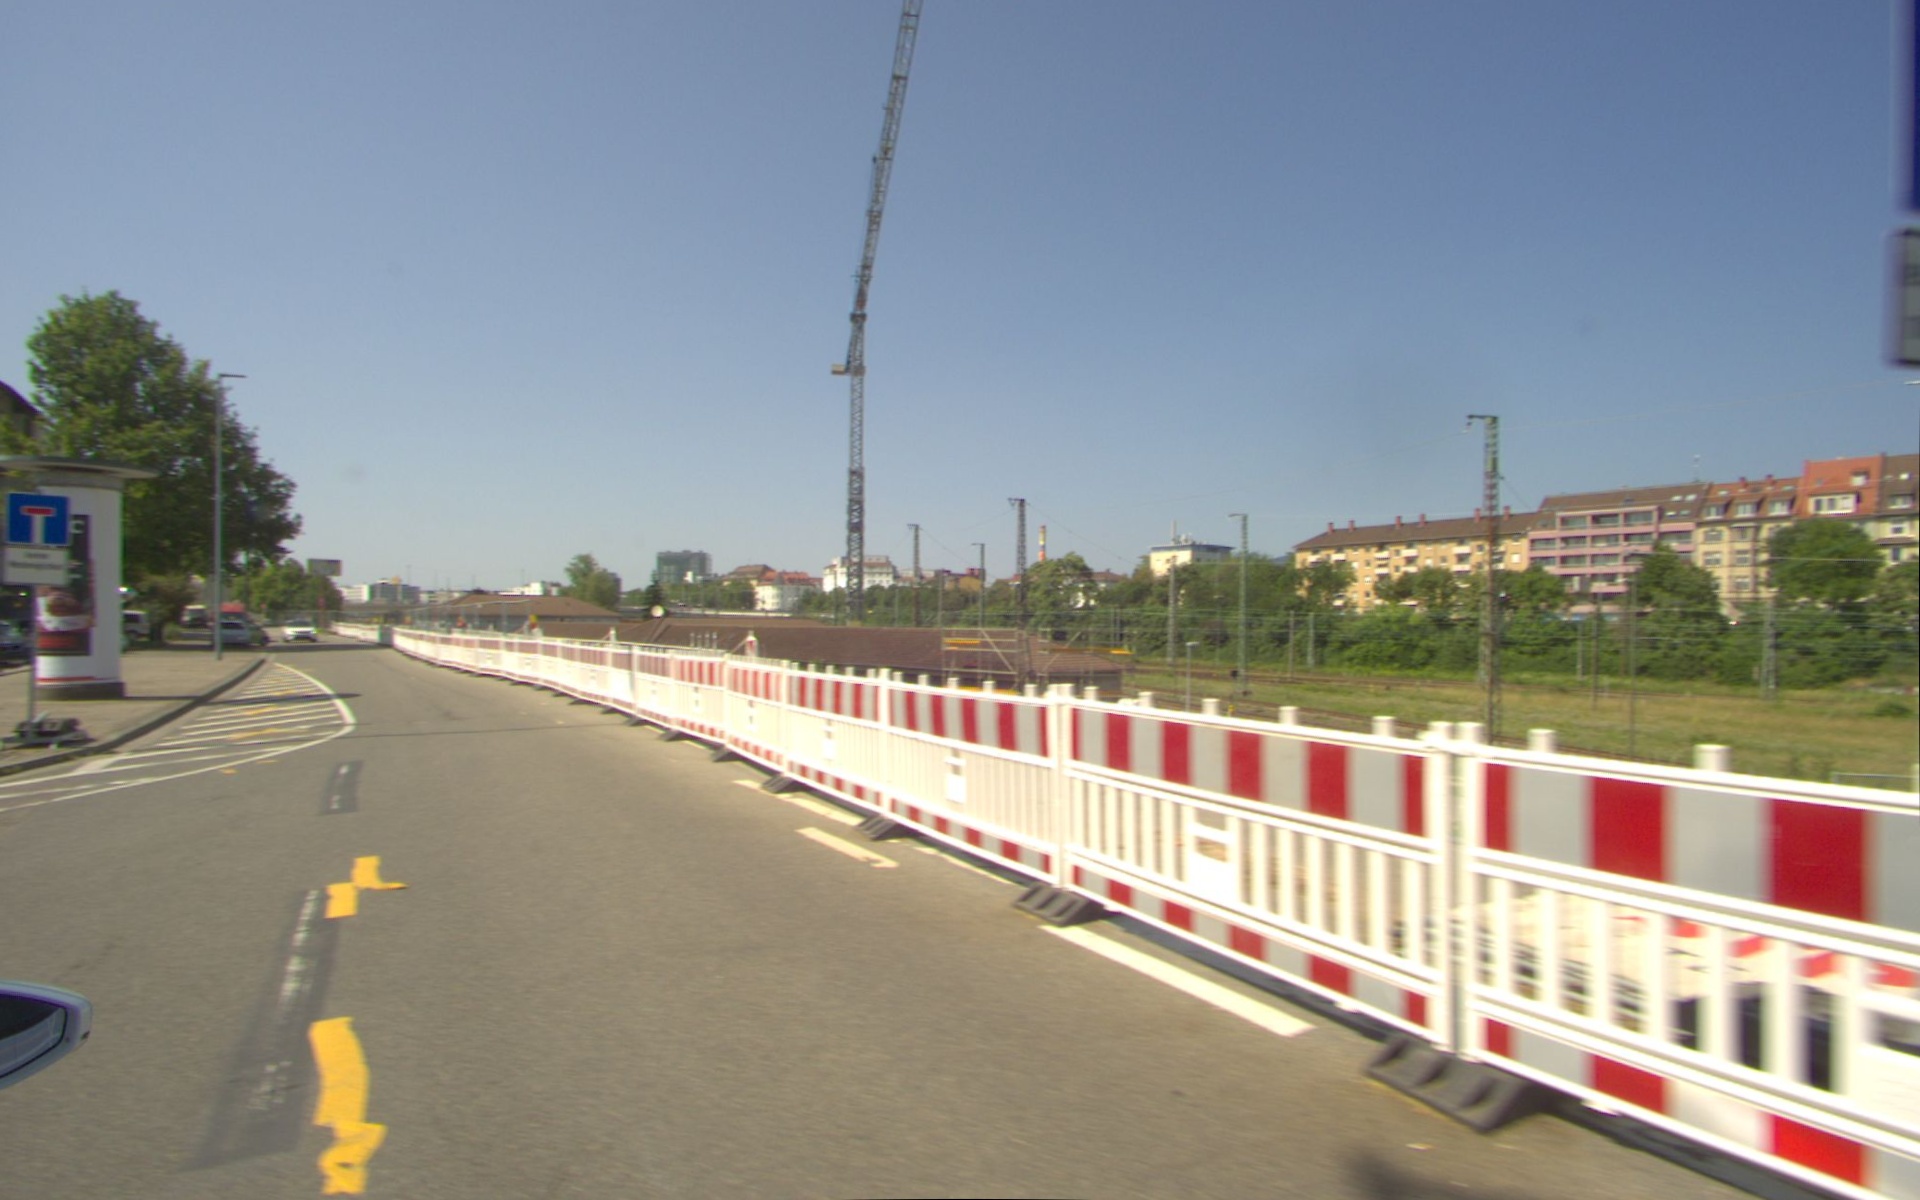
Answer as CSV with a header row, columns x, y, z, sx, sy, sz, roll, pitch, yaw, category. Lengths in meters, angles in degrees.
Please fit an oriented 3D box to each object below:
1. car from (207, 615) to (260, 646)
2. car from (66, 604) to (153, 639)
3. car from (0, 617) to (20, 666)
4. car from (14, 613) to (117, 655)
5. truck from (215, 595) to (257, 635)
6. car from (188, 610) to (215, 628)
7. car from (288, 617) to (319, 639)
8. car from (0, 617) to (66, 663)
x,y,z,sx,sy,sz,roll,pitch,yaw,category
-39.385,1.620,54.370,1.848,1.518,4.010,0,0,-30,car
-51.329,1.325,60.512,3.894,1.983,1.744,3,-2,-41,car
-31.376,1.341,31.387,3.940,1.493,1.664,-1,1,29,car
-34.792,1.312,38.951,3.940,1.493,1.773,-1,1,29,car
-50.607,1.118,70.036,2.216,2.682,5.645,1,-2,-34,truck
-86.795,2.171,114.567,1.917,1.856,3.904,5,-4,-30,car
-44.594,1.892,68.020,1.700,1.434,4.052,1,-2,-34,car
-33.655,1.393,35.502,3.940,1.493,1.664,-1,1,29,car
